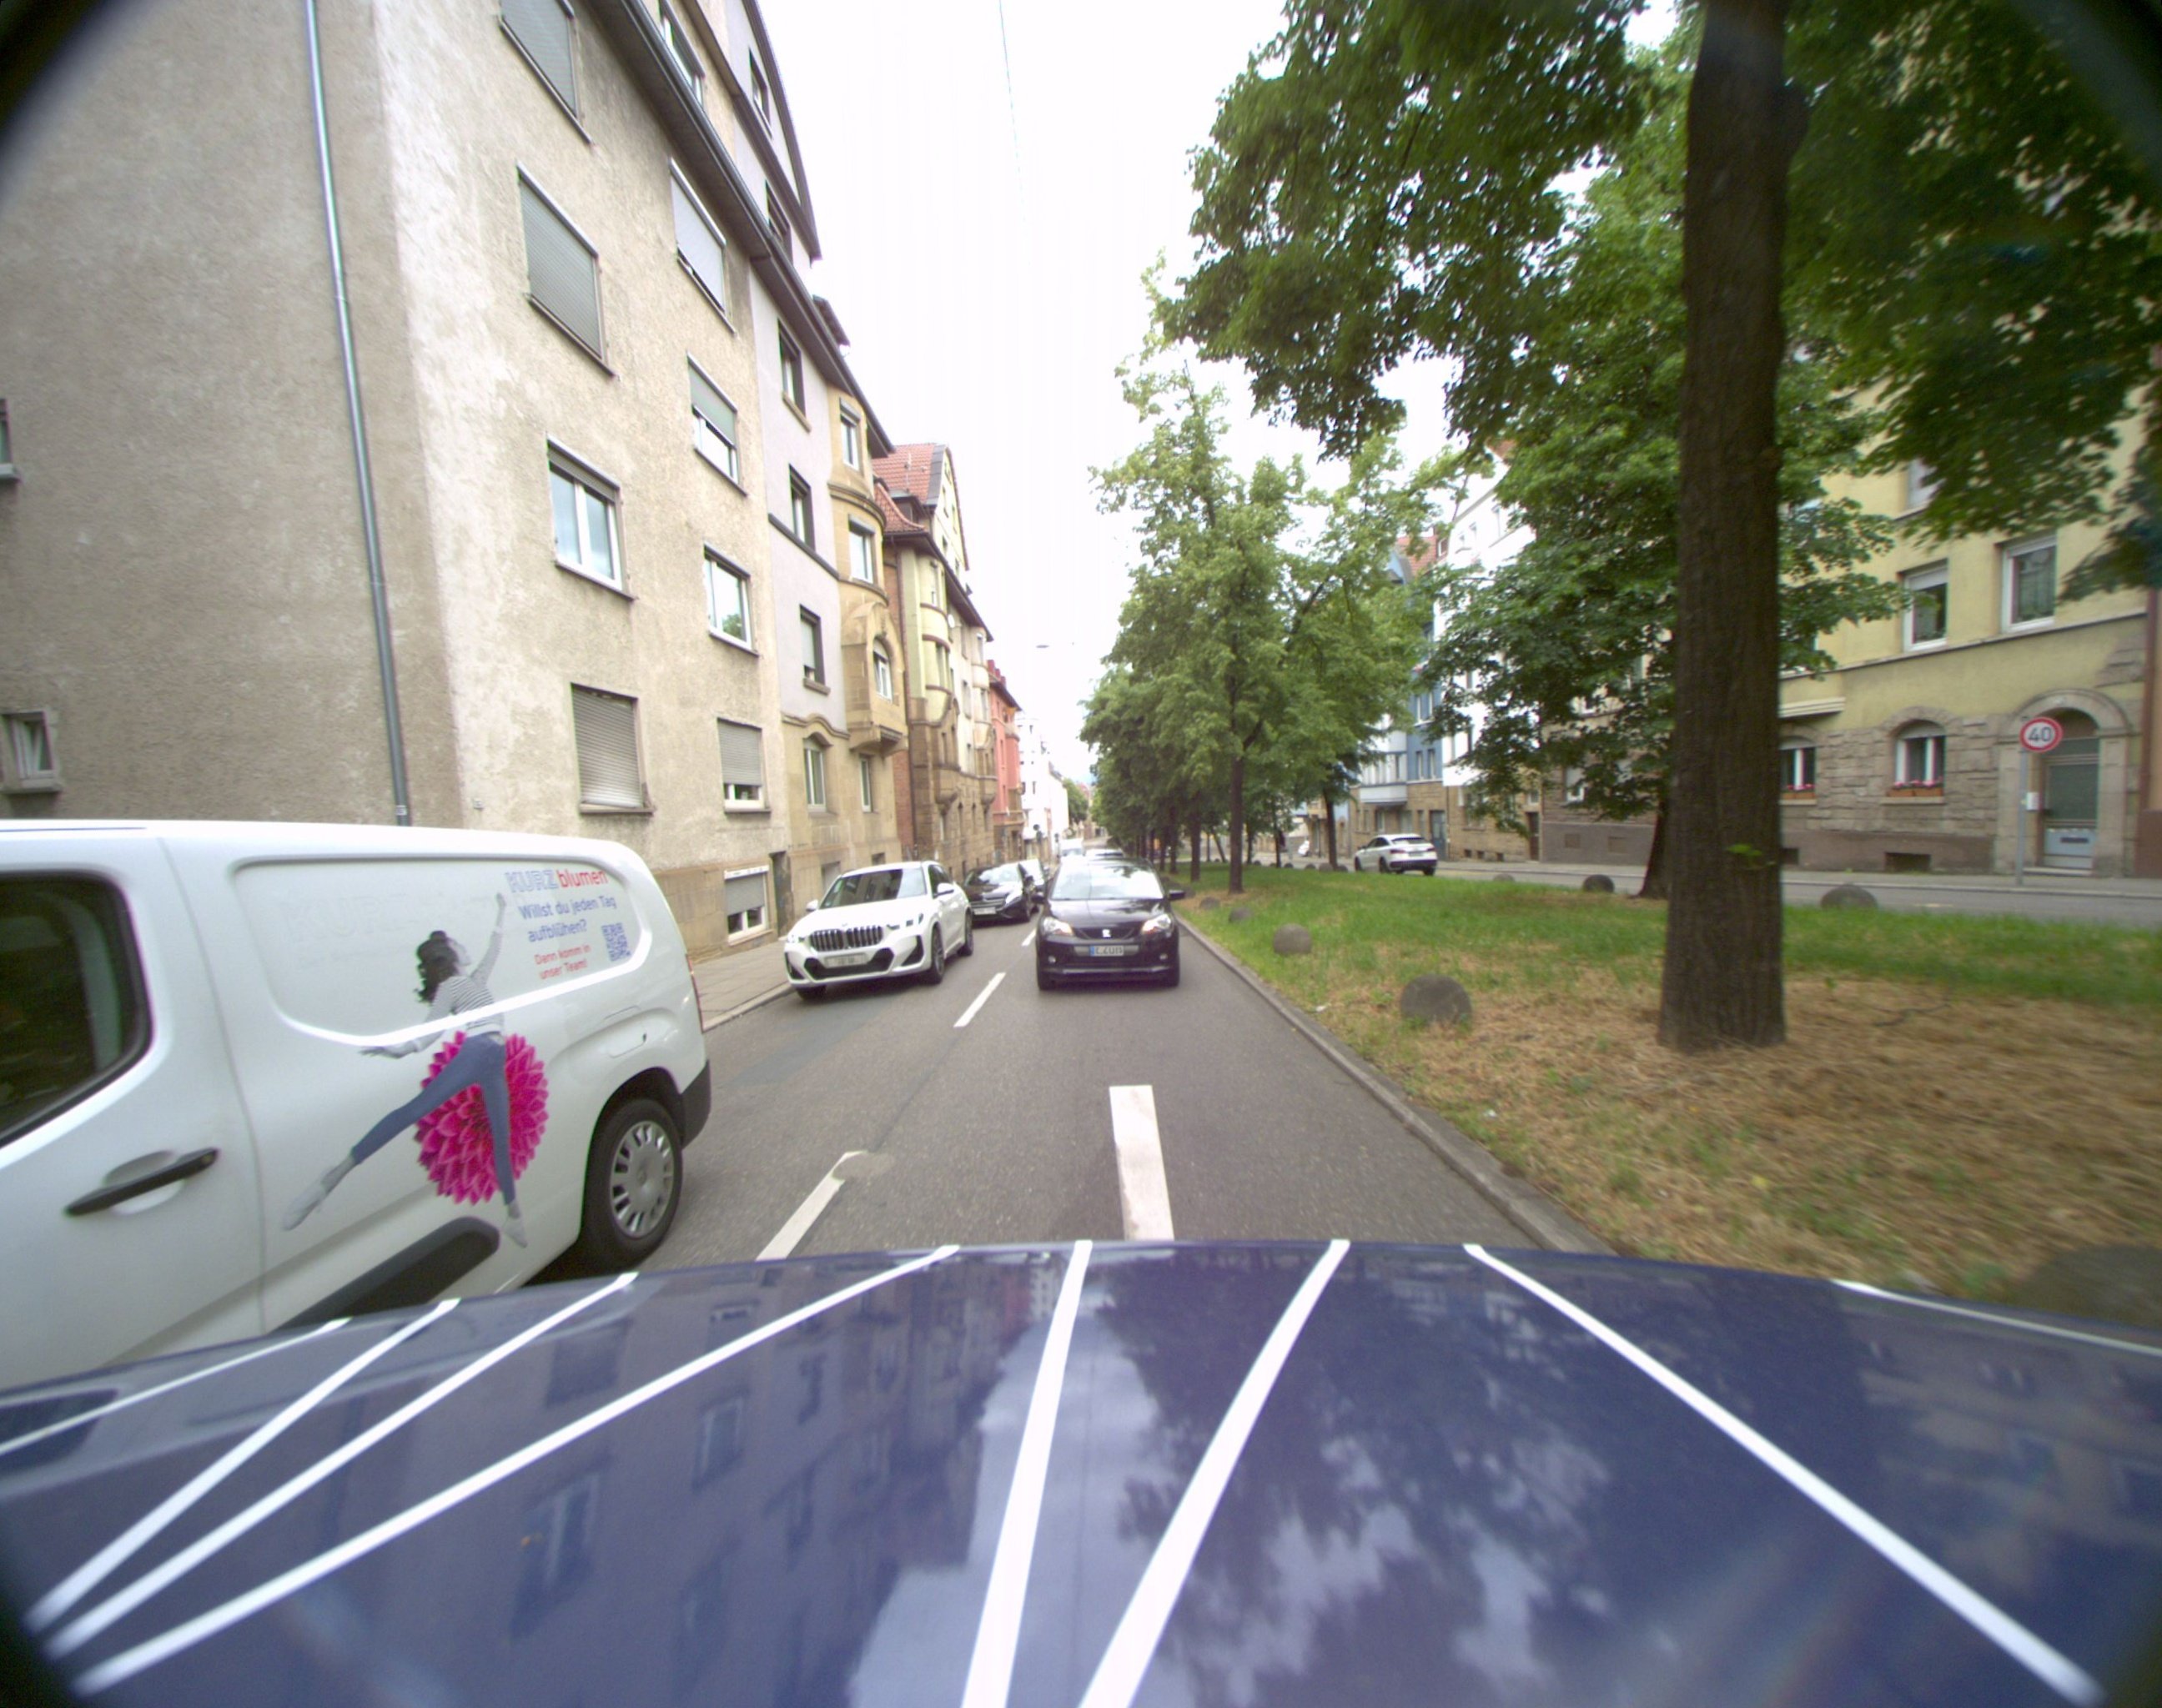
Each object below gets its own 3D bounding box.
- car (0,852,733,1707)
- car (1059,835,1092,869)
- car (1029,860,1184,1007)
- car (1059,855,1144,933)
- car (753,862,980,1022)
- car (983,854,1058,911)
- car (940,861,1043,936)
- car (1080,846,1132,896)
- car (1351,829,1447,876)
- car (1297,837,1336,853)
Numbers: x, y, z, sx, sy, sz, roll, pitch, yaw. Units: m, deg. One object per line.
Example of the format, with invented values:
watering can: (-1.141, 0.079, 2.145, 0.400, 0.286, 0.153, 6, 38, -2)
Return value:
car: (-2.802, 1.000, 1.471, 1.980, 1.765, 4.675, -6, 1, -1)
car: (-0.418, -0.207, 69.409, 2.716, 2.879, 6.452, -3, 1, 1)
car: (0.286, 0.844, 9.587, 1.611, 1.457, 3.296, -1, 1, 1)
car: (0.433, 0.823, 17.196, 1.664, 1.456, 3.580, -3, 1, 1)
car: (-2.775, 1.043, 10.991, 1.859, 1.547, 4.350, -7, 1, 0)
car: (-1.962, 0.903, 26.081, 1.936, 1.506, 4.303, -6, 1, 2)
car: (-2.079, 1.004, 18.894, 1.884, 1.369, 4.205, -6, 1, 1)
car: (0.811, 0.529, 26.120, 1.607, 1.492, 3.737, -3, 1, 1)
car: (12.314, -0.033, 29.754, 1.899, 1.618, 4.491, -3, 0, 1)
car: (21.988, -0.825, 71.050, 3.291, 1.323, 1.672, -2, 1, 10)
